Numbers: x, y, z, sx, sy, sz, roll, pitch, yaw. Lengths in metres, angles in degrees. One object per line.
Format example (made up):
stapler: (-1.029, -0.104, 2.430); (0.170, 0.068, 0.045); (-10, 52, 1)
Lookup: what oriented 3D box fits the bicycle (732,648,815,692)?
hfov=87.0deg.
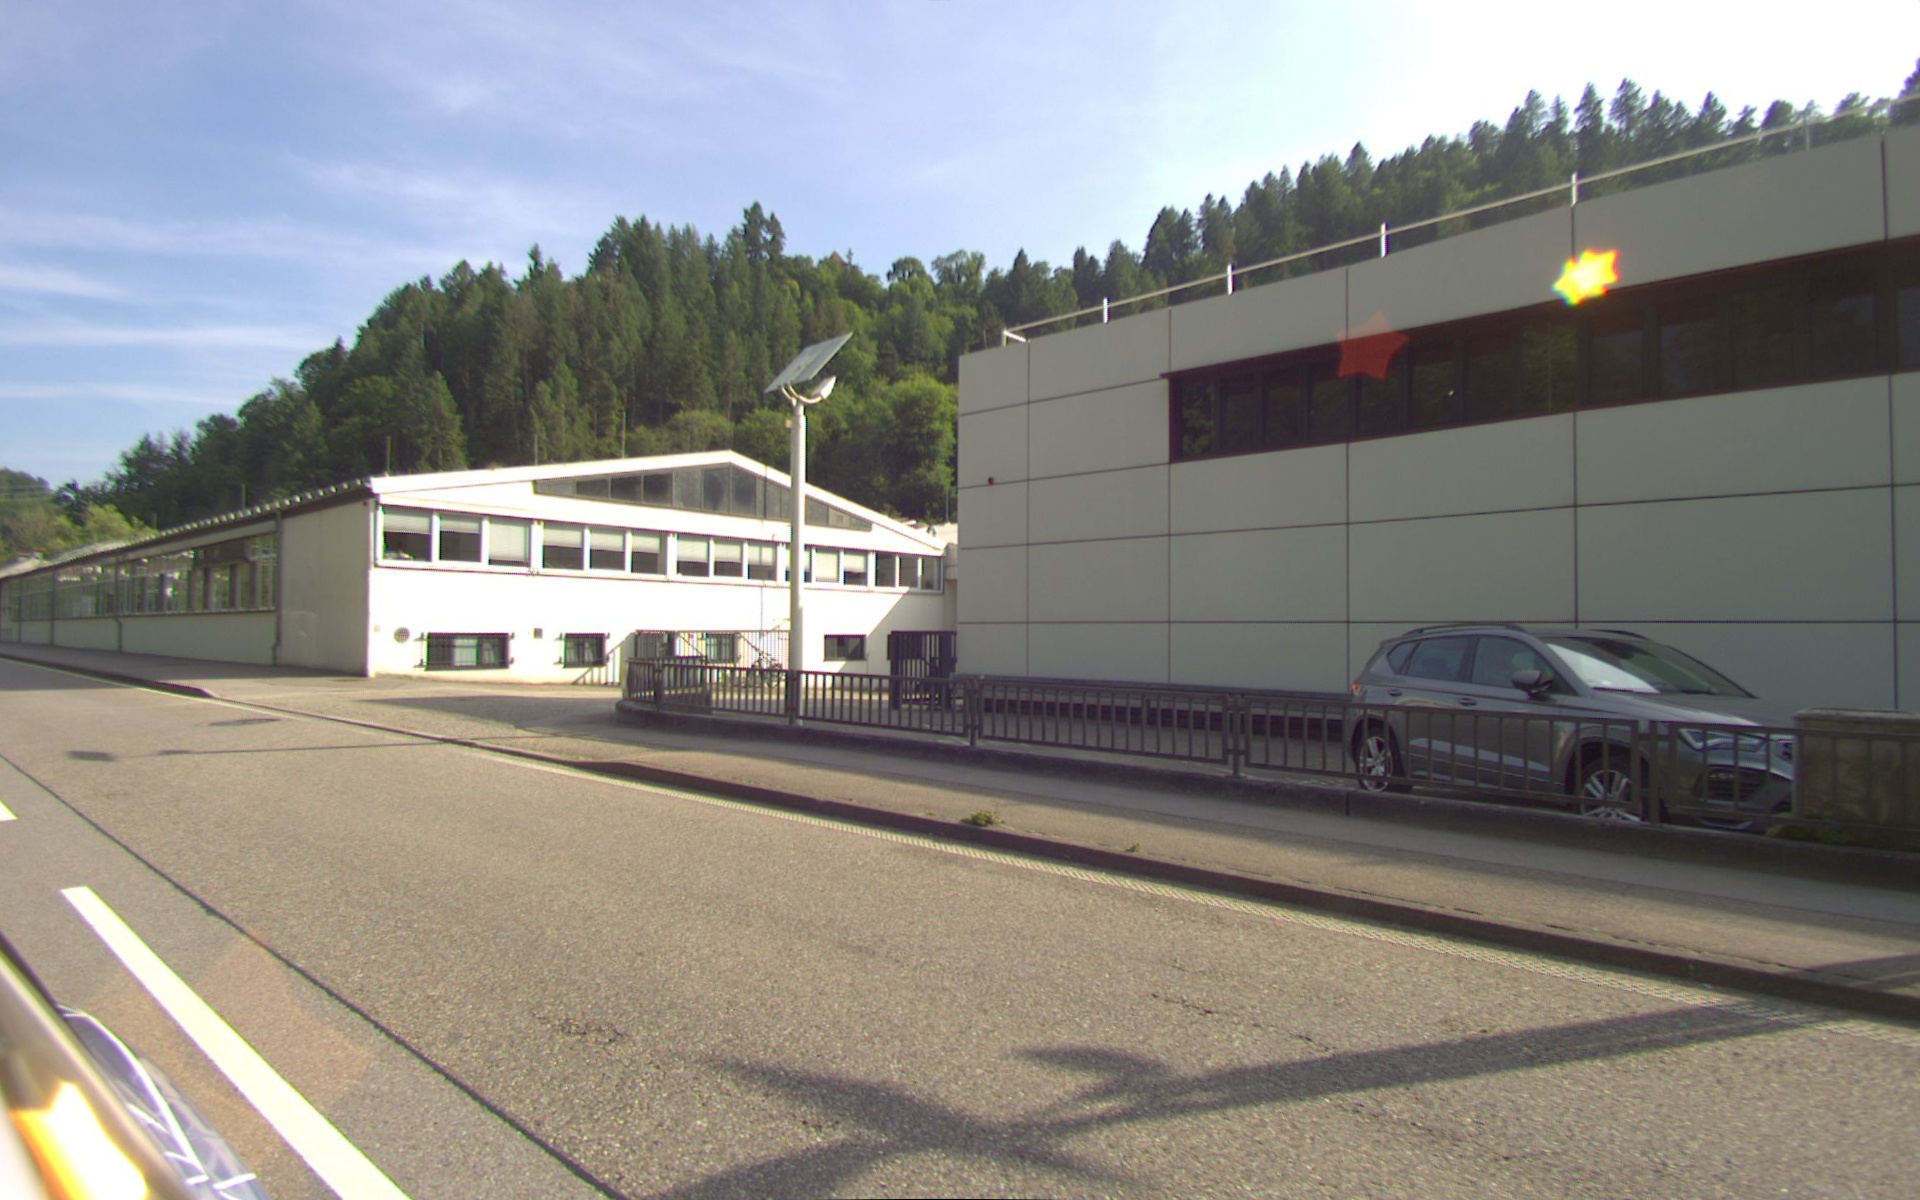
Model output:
bicycle: (-5.613, 2.131, 30.689); (1.039, 1.270, 2.471); (-1, -4, 32)

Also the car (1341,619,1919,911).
car: (4.871, 0.957, 7.771); (1.859, 1.604, 4.182); (0, -1, -8)
